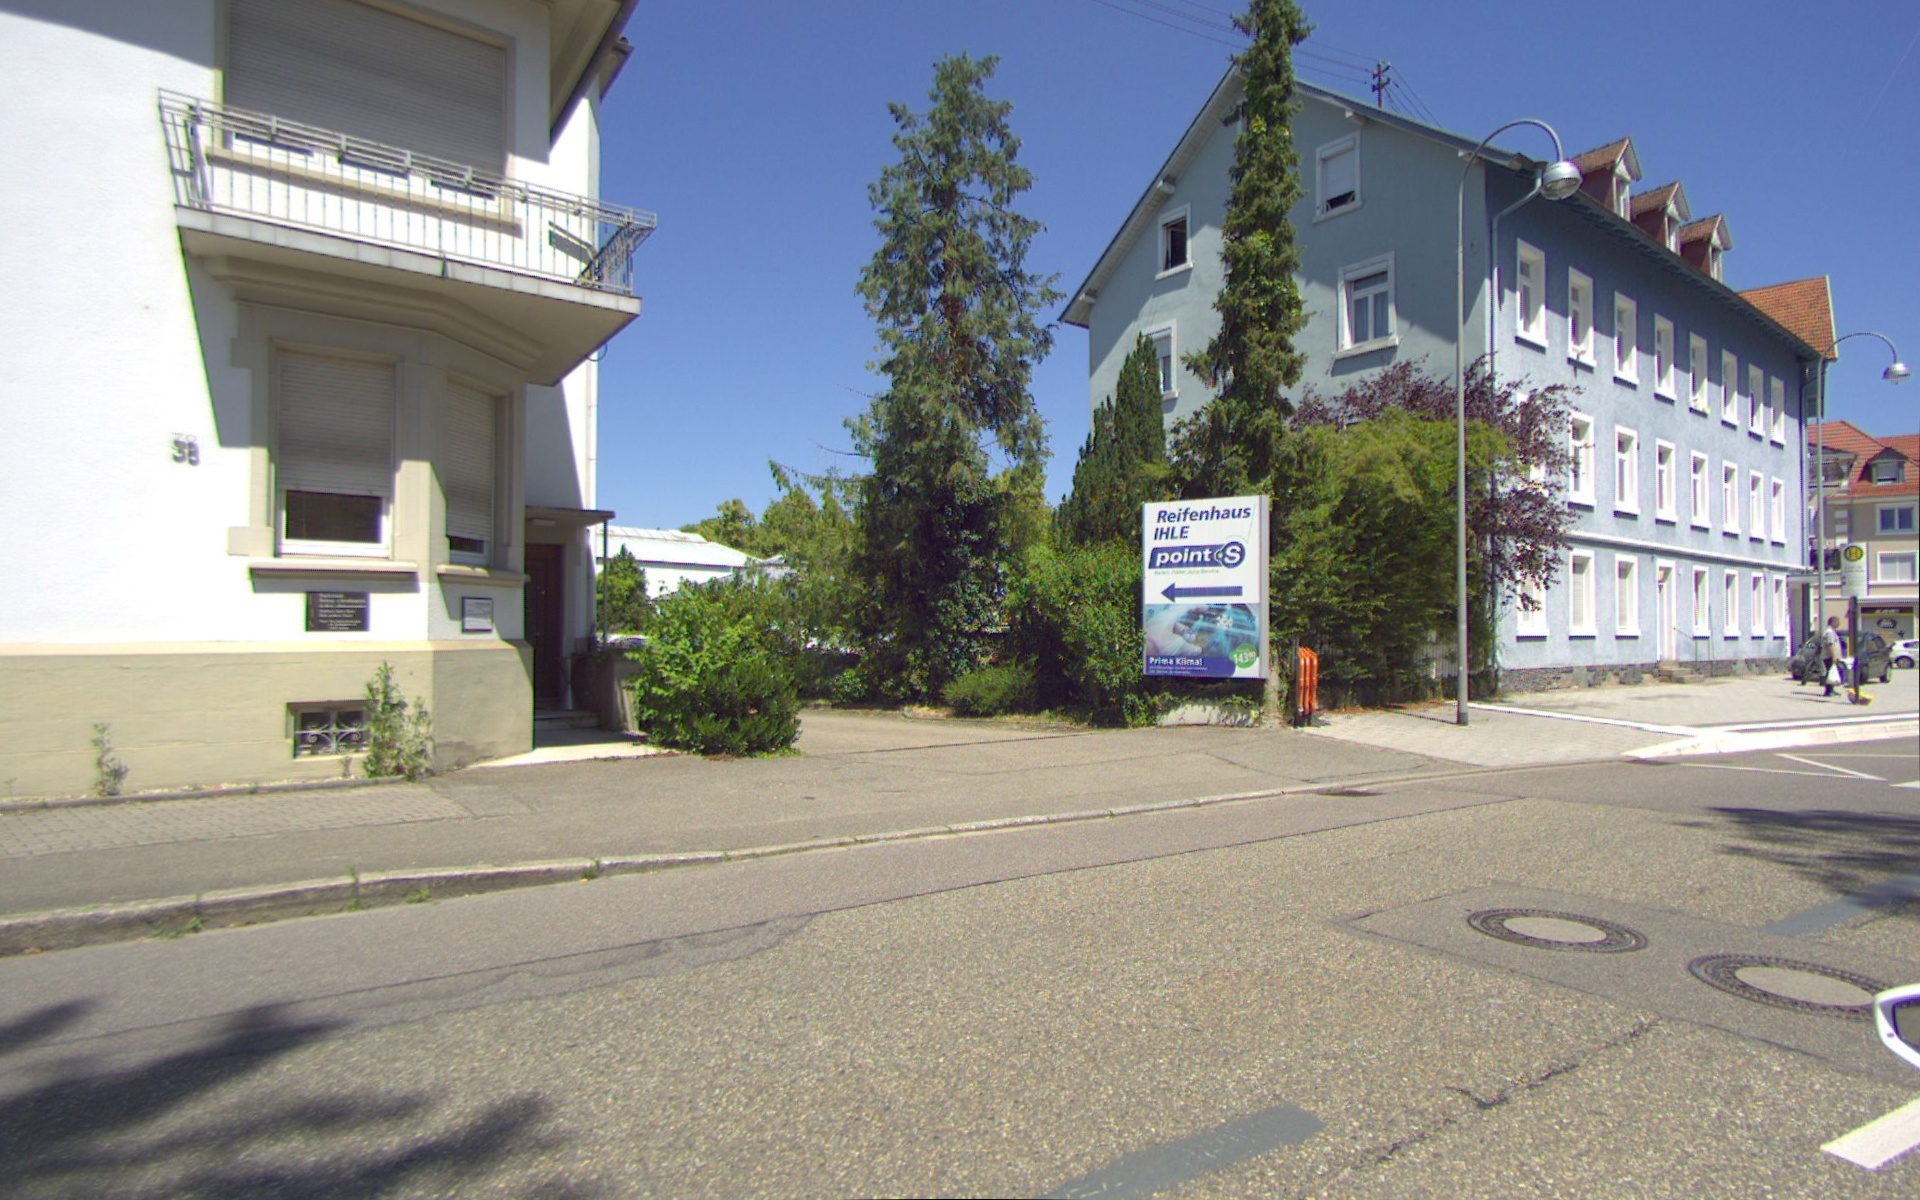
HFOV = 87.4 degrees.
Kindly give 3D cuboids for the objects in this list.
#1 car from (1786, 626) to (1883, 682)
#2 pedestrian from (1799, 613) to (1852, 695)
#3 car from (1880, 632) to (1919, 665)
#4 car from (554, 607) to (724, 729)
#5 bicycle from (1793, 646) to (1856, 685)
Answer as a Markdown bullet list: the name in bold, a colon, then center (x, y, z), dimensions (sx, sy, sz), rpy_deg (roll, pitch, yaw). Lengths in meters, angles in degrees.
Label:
- **car**: center (25.976, 1.610, 29.806), dimensions (3.744, 1.554, 1.565), rpy_deg (4, -3, -39)
- **pedestrian**: center (20.518, 1.277, 23.820), dimensions (0.765, 1.873, 0.750), rpy_deg (2, 1, -37)
- **car**: center (47.401, 2.390, 48.625), dimensions (1.773, 1.571, 4.079), rpy_deg (2, -1, -40)
- **car**: center (-4.903, 0.935, 15.011), dimensions (1.547, 1.560, 3.901), rpy_deg (1, -2, -31)
- **bicycle**: center (23.237, 1.763, 26.992), dimensions (1.946, 0.990, 0.494), rpy_deg (2, 2, -25)
